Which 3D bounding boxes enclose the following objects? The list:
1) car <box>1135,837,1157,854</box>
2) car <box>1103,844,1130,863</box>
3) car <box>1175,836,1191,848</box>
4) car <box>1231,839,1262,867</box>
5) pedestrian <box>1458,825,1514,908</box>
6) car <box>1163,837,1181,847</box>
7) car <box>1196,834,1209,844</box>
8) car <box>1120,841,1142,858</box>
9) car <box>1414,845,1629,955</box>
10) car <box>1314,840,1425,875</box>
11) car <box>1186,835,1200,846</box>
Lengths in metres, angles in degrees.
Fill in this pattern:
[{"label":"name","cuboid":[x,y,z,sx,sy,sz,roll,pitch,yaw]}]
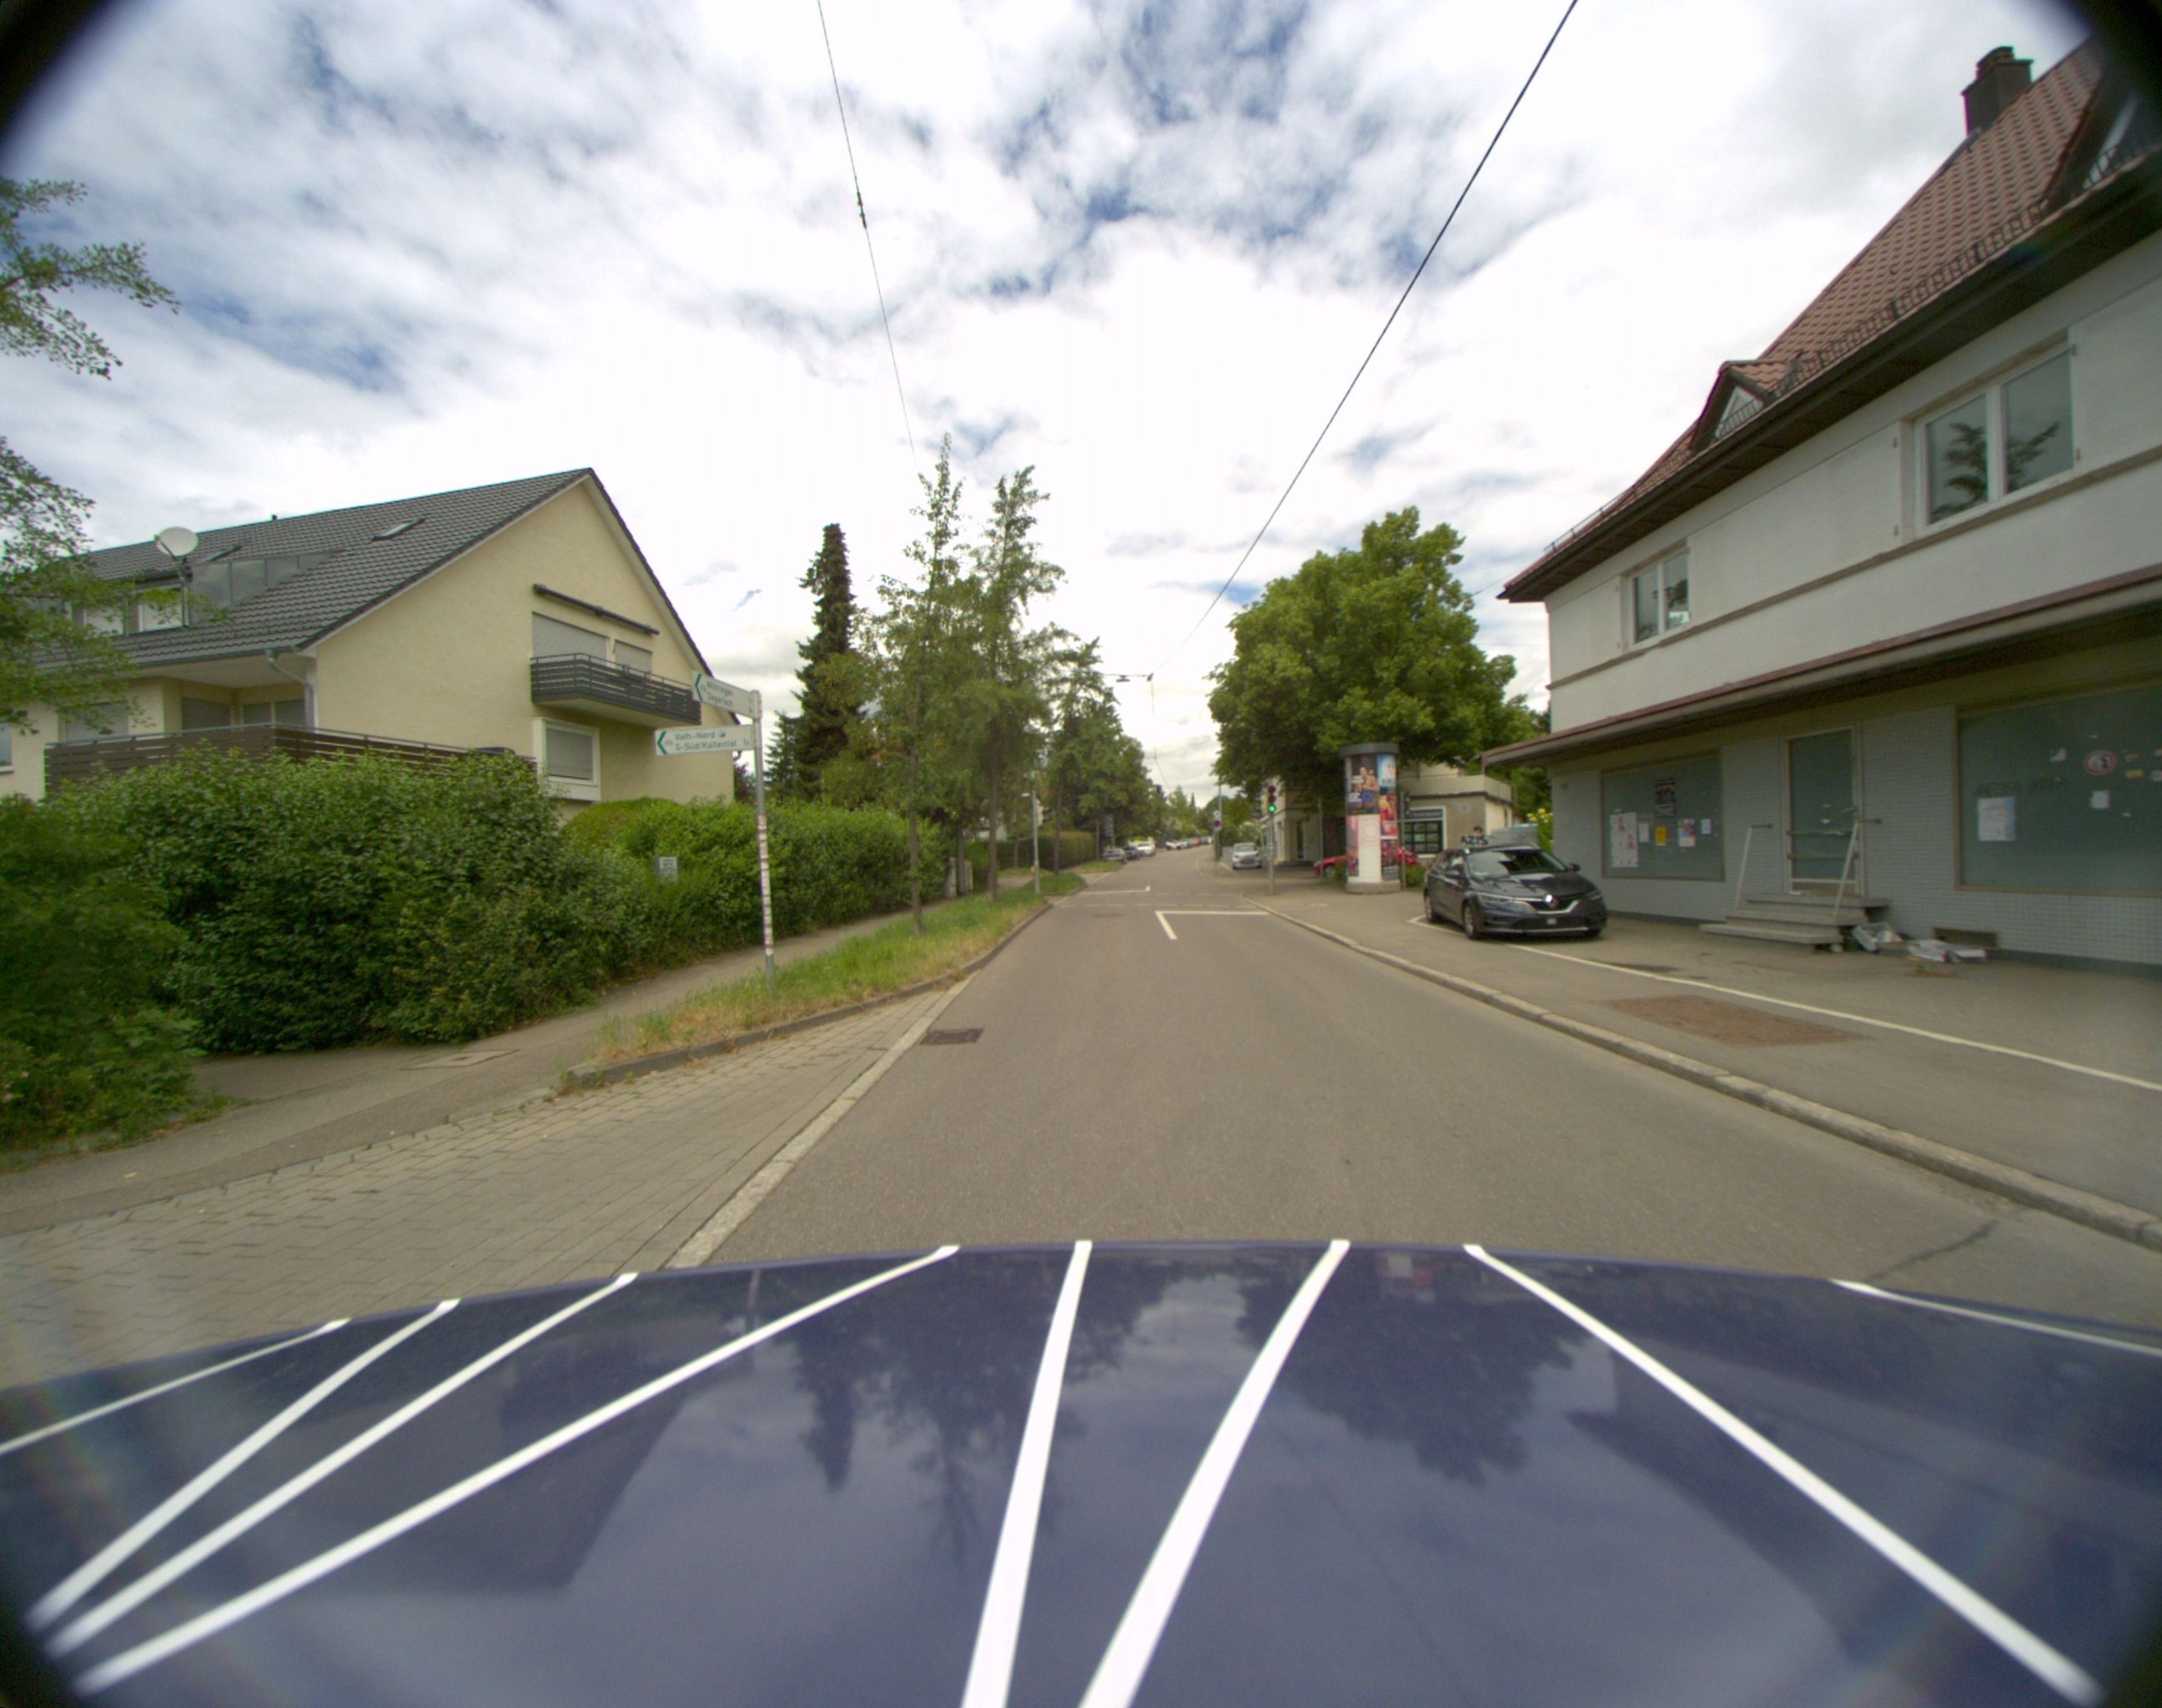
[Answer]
[{"label":"car","cuboid":[7.427,-0.970,86.454,1.868,1.676,4.353,-2,2,14]},{"label":"car","cuboid":[3.053,-0.042,64.426,1.713,1.404,3.792,-4,1,10]},{"label":"car","cuboid":[16.070,-1.932,119.987,1.832,1.614,4.496,-2,2,16]},{"label":"car","cuboid":[9.947,-0.101,45.859,1.591,1.529,2.925,-4,1,10]},{"label":"pedestrian","cuboid":[8.773,0.268,16.498,0.887,1.708,0.762,-4,1,19]},{"label":"car","cuboid":[13.424,-1.767,112.390,2.289,1.515,1.319,-1,1,21]},{"label":"car","cuboid":[23.234,-2.919,145.477,1.953,1.617,4.379,-3,1,14]},{"label":"car","cuboid":[4.992,-0.459,75.626,1.712,1.479,3.792,-3,2,11]},{"label":"car","cuboid":[7.119,0.632,12.859,1.782,1.433,4.529,-4,0,12]},{"label":"car","cuboid":[12.703,0.180,33.542,4.222,1.423,1.820,-1,-1,35]},{"label":"car","cuboid":[19.481,-2.374,132.491,1.853,1.617,4.173,-3,1,15]}]
